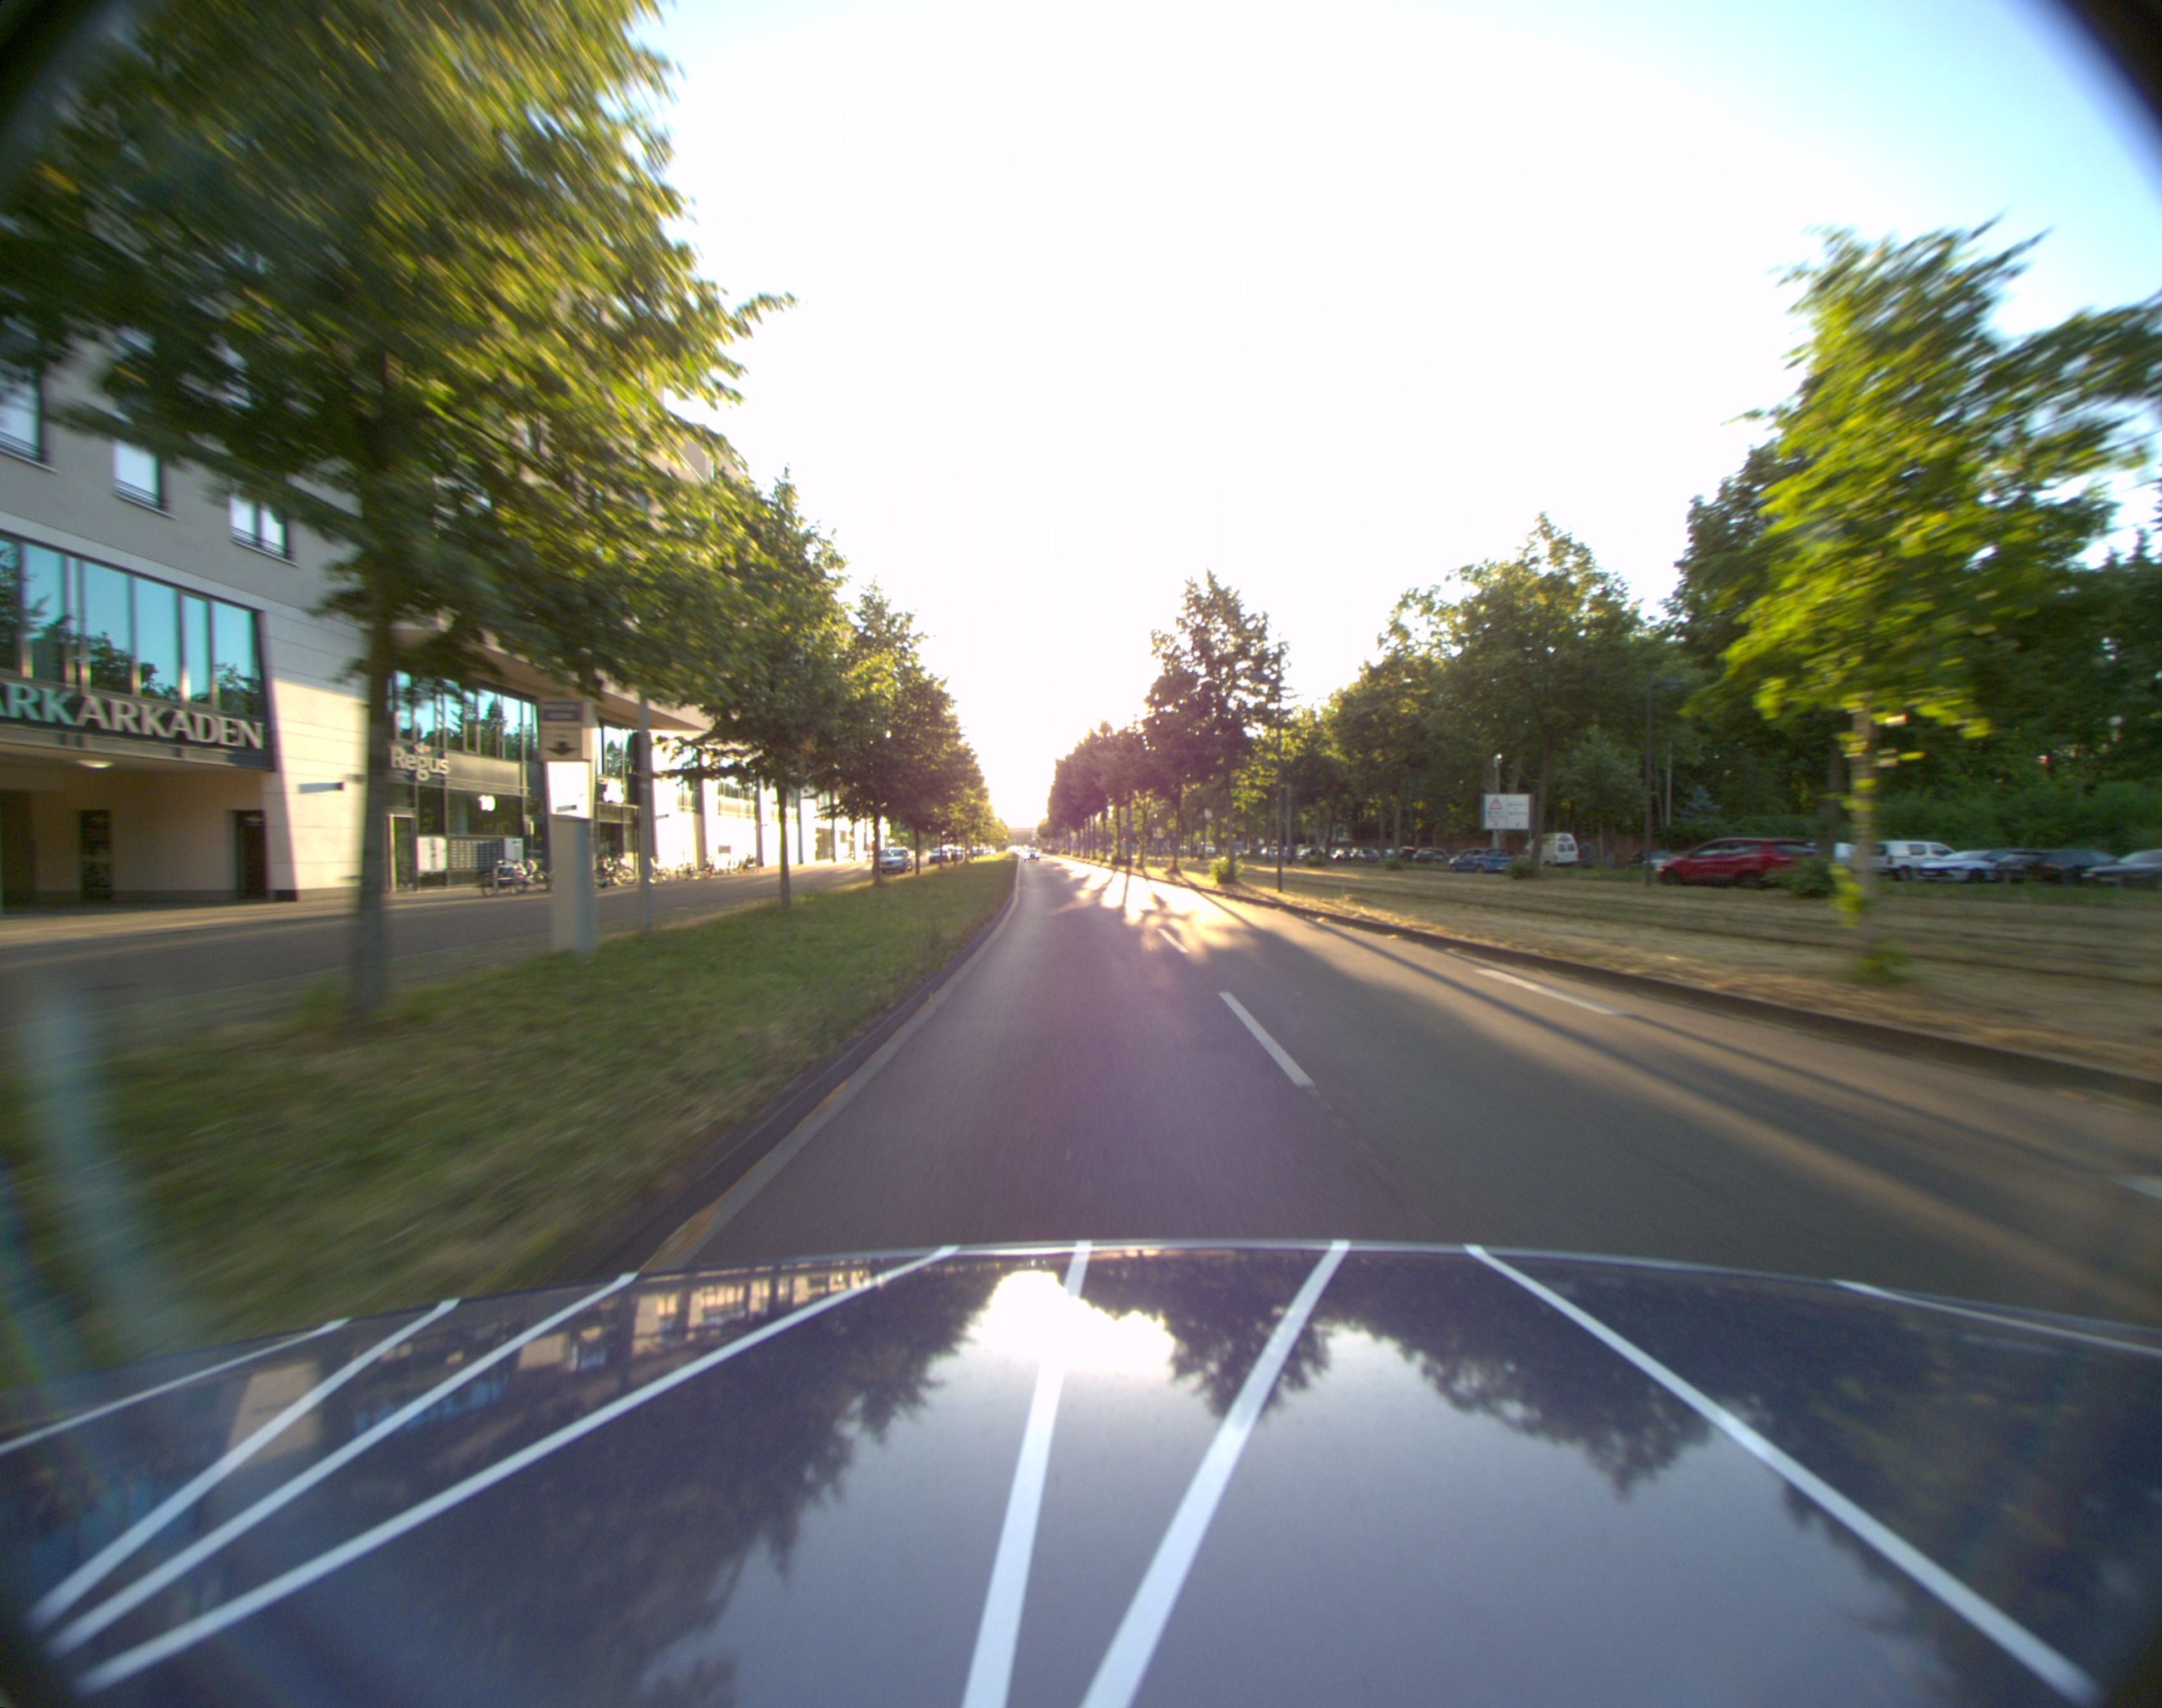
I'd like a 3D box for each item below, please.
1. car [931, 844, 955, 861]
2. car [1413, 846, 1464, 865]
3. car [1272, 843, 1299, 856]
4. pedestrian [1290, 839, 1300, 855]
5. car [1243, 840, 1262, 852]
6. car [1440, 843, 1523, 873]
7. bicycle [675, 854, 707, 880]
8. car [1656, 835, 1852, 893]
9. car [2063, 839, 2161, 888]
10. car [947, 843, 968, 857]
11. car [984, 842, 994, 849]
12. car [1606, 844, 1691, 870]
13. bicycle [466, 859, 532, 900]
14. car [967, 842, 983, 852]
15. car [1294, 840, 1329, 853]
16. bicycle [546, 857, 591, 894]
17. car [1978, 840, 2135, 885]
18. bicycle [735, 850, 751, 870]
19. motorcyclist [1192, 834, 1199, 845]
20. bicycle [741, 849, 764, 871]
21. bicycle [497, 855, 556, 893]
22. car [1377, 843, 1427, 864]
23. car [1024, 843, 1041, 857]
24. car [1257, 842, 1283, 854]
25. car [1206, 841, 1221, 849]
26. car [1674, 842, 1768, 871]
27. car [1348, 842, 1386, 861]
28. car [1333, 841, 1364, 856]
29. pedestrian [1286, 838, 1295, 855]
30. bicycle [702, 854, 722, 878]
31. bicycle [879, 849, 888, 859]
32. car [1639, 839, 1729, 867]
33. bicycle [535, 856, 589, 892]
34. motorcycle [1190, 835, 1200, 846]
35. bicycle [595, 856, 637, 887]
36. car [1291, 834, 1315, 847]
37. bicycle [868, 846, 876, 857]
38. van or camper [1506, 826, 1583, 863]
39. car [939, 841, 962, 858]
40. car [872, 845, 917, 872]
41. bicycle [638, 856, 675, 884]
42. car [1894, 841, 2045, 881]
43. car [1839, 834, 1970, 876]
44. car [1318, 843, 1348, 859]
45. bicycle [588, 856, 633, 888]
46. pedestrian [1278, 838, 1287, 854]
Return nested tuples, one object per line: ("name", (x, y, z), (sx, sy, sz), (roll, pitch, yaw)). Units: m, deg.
("car", (-12.889, -0.117, 71.048), (1.729, 1.492, 4.230), (-2, 1, -4))
("car", (28.642, 0.101, 60.974), (1.999, 1.477, 3.998), (0, 1, -4))
("car", (25.016, -0.586, 92.962), (1.905, 1.491, 4.304), (0, 1, -4))
("pedestrian", (23.570, -0.824, 83.706), (0.695, 1.749, 0.865), (-1, 1, -12))
("car", (24.857, -1.168, 109.975), (1.998, 1.630, 4.000), (0, 1, 3))
("car", (21.333, 0.168, 40.708), (1.924, 1.499, 4.284), (0, 1, -5))
("bicycle", (-16.664, 0.536, 32.526), (0.534, 1.055, 1.856), (1, 1, -4))
("car", (19.837, 0.244, 22.691), (1.891, 1.569, 4.179), (0, 1, -6))
("car", (37.583, 0.303, 26.762), (4.000, 1.630, 1.920), (-1, 1, -8))
("car", (-13.907, -0.502, 85.695), (1.926, 1.492, 5.007), (-1, 1, -5))
("car", (-19.662, -1.881, 162.298), (1.925, 1.492, 5.408), (-1, 1, -5))
("car", (36.202, 0.167, 48.527), (3.998, 1.630, 1.921), (0, 1, -2))
("bicycle", (-16.196, 0.686, 21.194), (0.534, 1.055, 1.856), (1, 1, -4))
("car", (-16.224, -1.115, 116.615), (1.813, 1.492, 4.367), (3, 1, -1))
("car", (24.889, -0.807, 82.302), (1.999, 1.307, 5.139), (0, 1, -4))
("bicycle", (-15.678, 0.652, 23.274), (0.535, 1.055, 1.778), (1, 1, -14))
("car", (37.350, 0.304, 29.144), (4.000, 1.630, 1.920), (-1, 1, -8))
("bicycle", (-18.160, 0.318, 40.817), (0.535, 1.055, 1.854), (1, 1, -17))
("motorcyclist", (14.341, -1.858, 95.529), (0.683, 1.368, 0.804), (0, 1, -5))
("bicycle", (-17.663, 0.323, 40.888), (0.539, 1.157, 1.780), (1, 1, -4))
("bicycle", (-16.921, 0.591, 23.225), (0.534, 1.055, 1.856), (1, 1, -4))
("car", (27.837, -0.079, 66.034), (1.999, 1.740, 4.787), (0, 1, -5))
("car", (-5.550, -0.465, 87.214), (1.828, 1.625, 3.997), (-1, 1, -5))
("car", (24.569, -0.812, 98.769), (1.999, 1.490, 4.554), (0, 1, -4))
("car", (24.692, -1.715, 141.928), (1.815, 1.522, 4.052), (-1, 1, -3))
("car", (36.490, 0.120, 43.366), (4.000, 1.630, 1.920), (-1, 1, -8))
("car", (26.947, -0.227, 71.681), (1.998, 1.740, 4.159), (0, 1, 1))
("car", (27.160, -0.584, 77.180), (1.807, 1.551, 3.837), (0, 1, 1))
("pedestrian", (22.864, -0.850, 82.992), (0.695, 1.860, 0.865), (-1, 1, -12))
("bicycle", (-16.561, 0.524, 34.129), (0.535, 1.055, 1.854), (1, 1, -17))
("bicycle", (-20.581, -0.007, 79.153), (0.622, 1.027, 2.260), (0, 1, -6))
("car", (36.625, -0.088, 46.206), (3.998, 1.630, 1.921), (0, 1, -3))
("bicycle", (-16.449, 0.609, 24.110), (0.534, 1.055, 1.856), (0, 1, -4))
("motorcycle", (14.333, -1.727, 95.665), (0.684, 1.329, 2.343), (0, 1, -5))
("bicycle", (-17.137, 0.632, 28.055), (0.534, 1.055, 1.856), (1, 1, -4))
("car", (33.990, -2.087, 116.449), (1.999, 2.002, 5.057), (-1, 1, -1))
("bicycle", (-20.252, -0.231, 73.713), (0.535, 1.053, 1.611), (-1, 1, -10))
("van or camper", (35.206, -0.743, 57.939), (2.091, 2.720, 5.491), (0, 1, -6))
("car", (-13.425, -0.502, 78.400), (1.959, 1.614, 4.818), (-3, 1, -5))
("car", (-10.826, 0.218, 44.436), (1.814, 1.492, 4.822), (-1, 1, -5))
("bicycle", (-16.656, 0.609, 29.864), (0.534, 1.055, 1.856), (1, 1, -4))
("car", (37.341, 0.276, 32.011), (3.996, 1.630, 1.922), (0, 1, 2))
("car", (37.722, 0.044, 34.870), (3.998, 1.834, 2.011), (0, 1, -4))
("car", (27.545, -0.324, 83.218), (1.998, 1.740, 4.159), (0, 1, 1))
("bicycle", (-16.500, 0.623, 26.710), (0.534, 1.055, 1.856), (1, 1, -4))
("pedestrian", (22.306, -0.921, 84.155), (0.695, 1.733, 0.865), (0, 1, -7))
